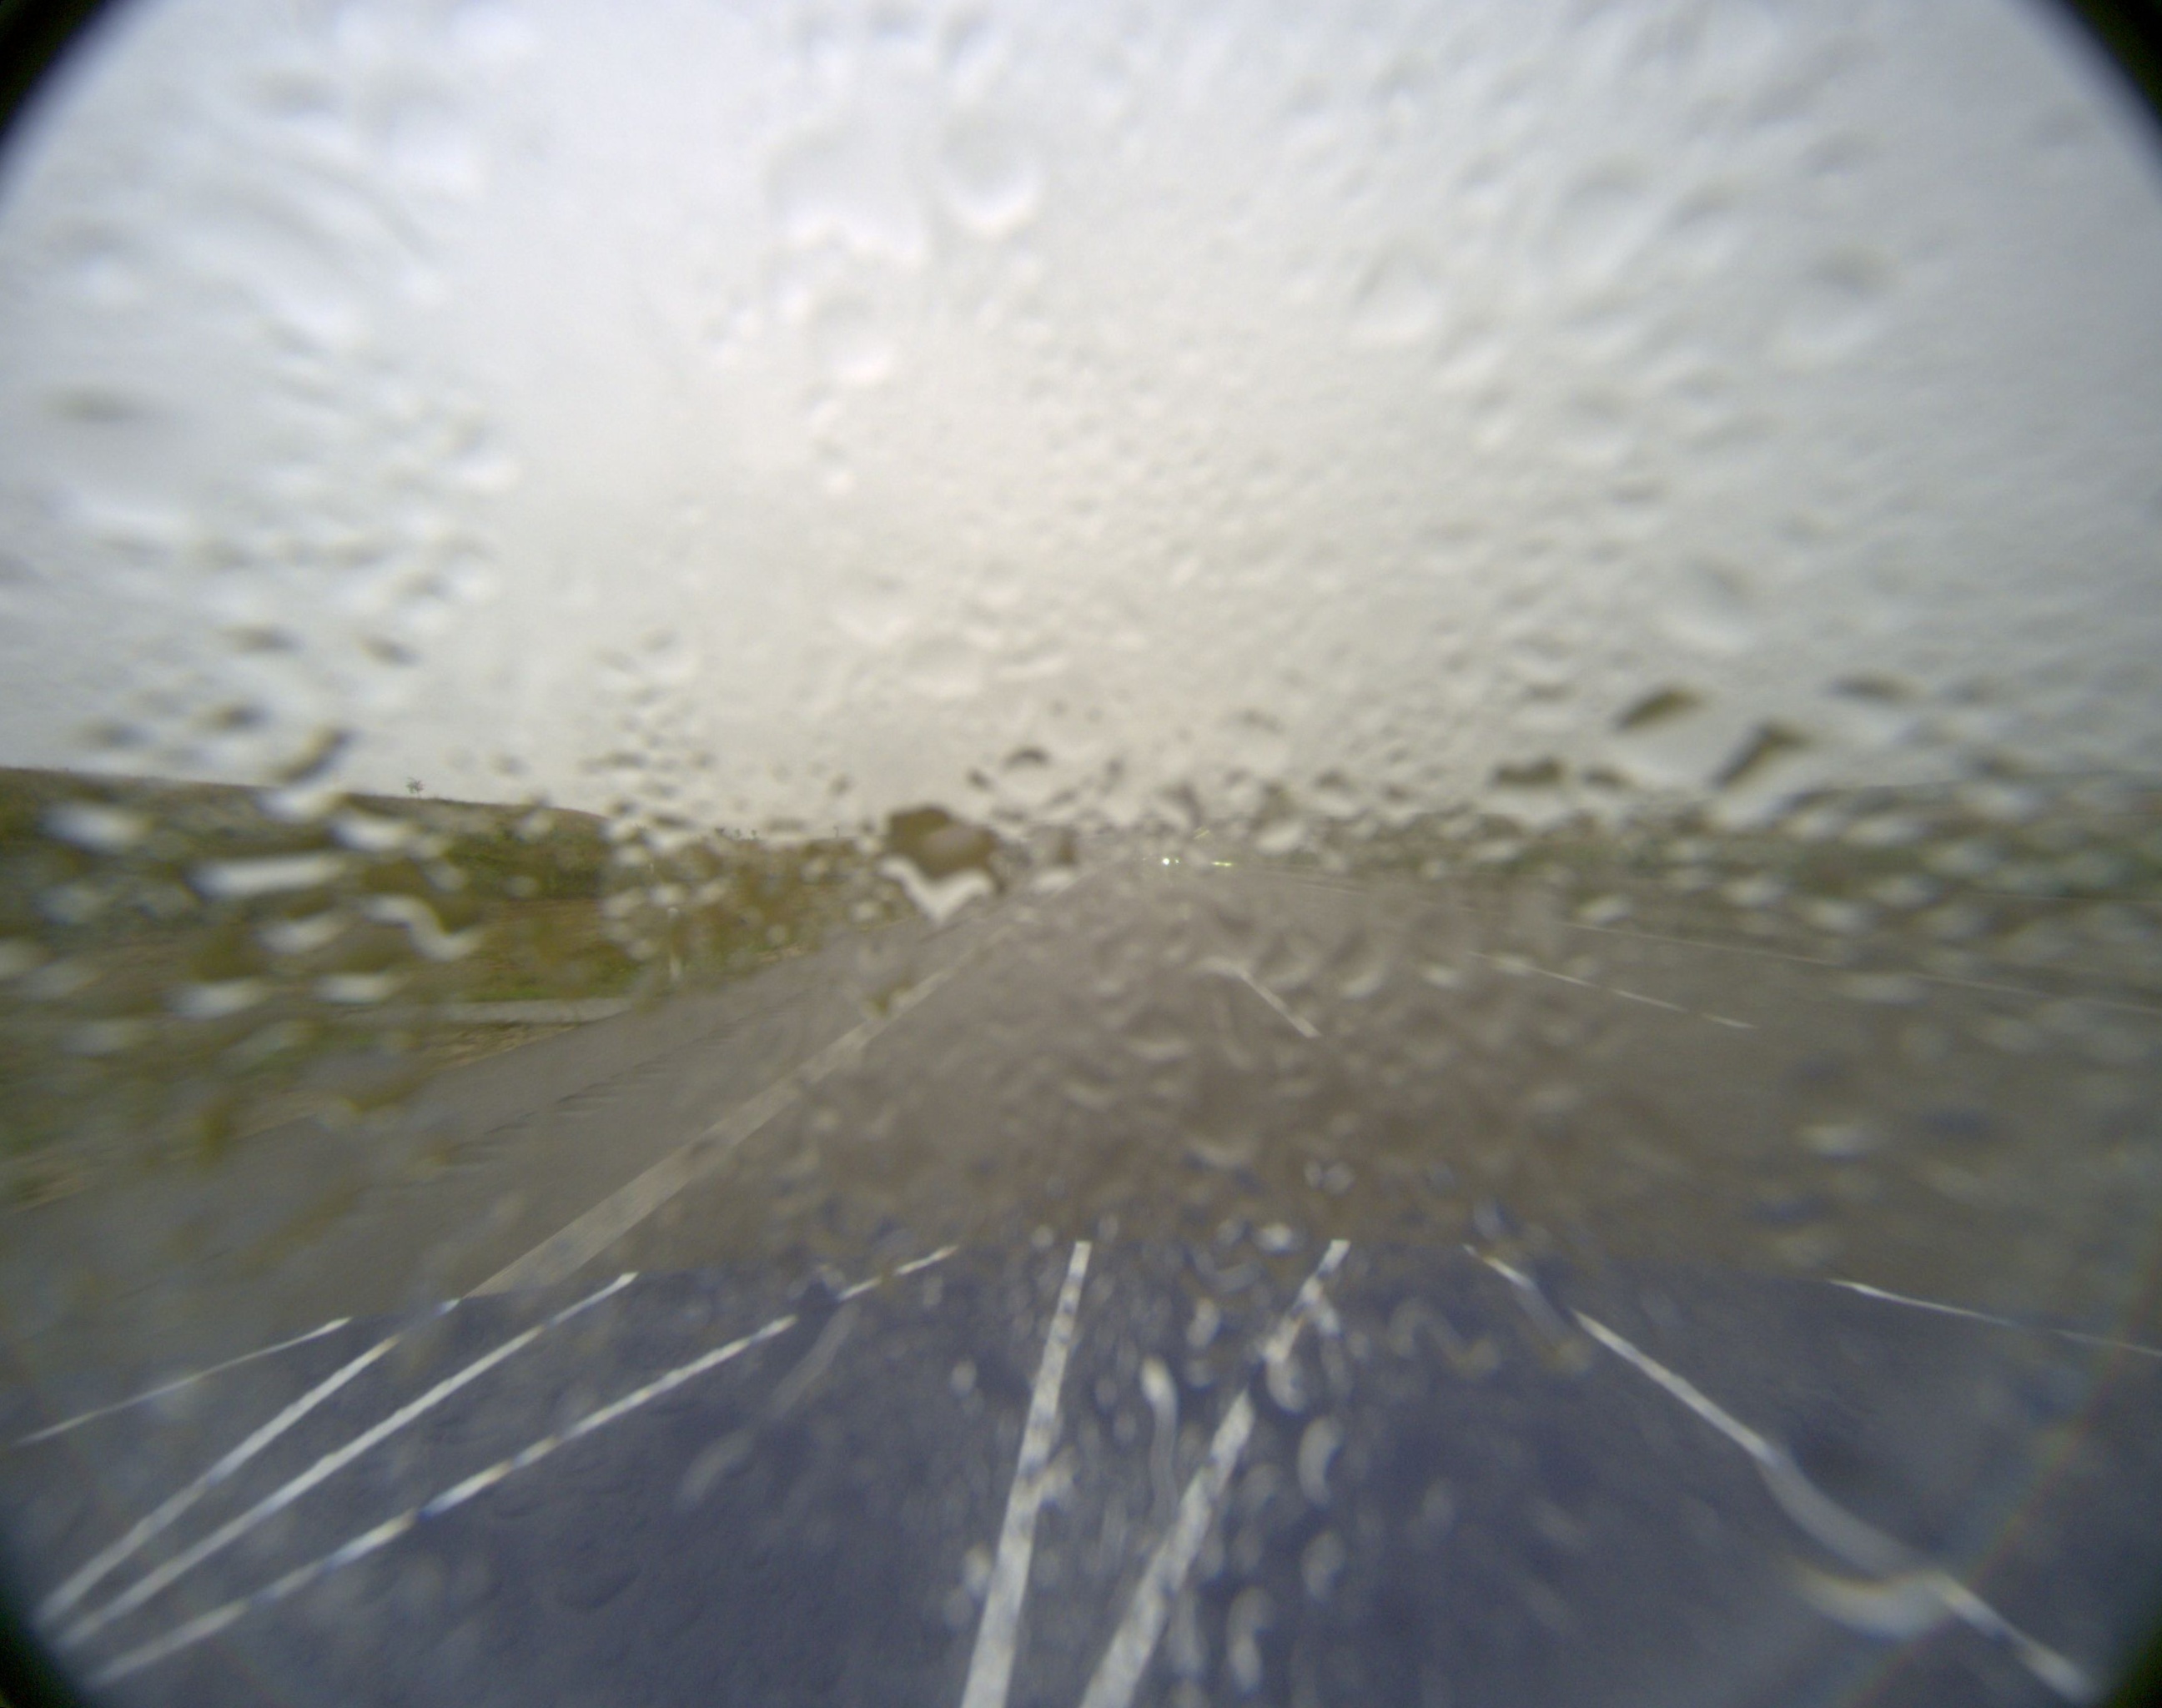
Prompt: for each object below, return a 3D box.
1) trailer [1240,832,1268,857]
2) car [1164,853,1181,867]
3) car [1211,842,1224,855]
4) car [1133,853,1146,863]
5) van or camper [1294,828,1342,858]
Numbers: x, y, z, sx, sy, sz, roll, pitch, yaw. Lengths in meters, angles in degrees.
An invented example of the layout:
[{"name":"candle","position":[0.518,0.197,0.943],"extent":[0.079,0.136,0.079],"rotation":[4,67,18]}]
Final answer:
[{"name":"trailer","position":[29.088,-1.587,128.032],"extent":[2.229,3.974,14.209],"rotation":[-1,0,3]},{"name":"car","position":[11.404,0.721,94.681],"extent":[1.700,1.543,3.733],"rotation":[-2,1,2]},{"name":"car","position":[28.346,-1.194,157.870],"extent":[2.501,2.690,6.211],"rotation":[-2,1,12]},{"name":"car","position":[9.180,0.611,119.727],"extent":[1.701,1.543,3.733],"rotation":[-2,1,1]},{"name":"van or camper","position":[21.655,-0.953,69.835],"extent":[2.379,2.493,6.757],"rotation":[-2,0,1]}]
